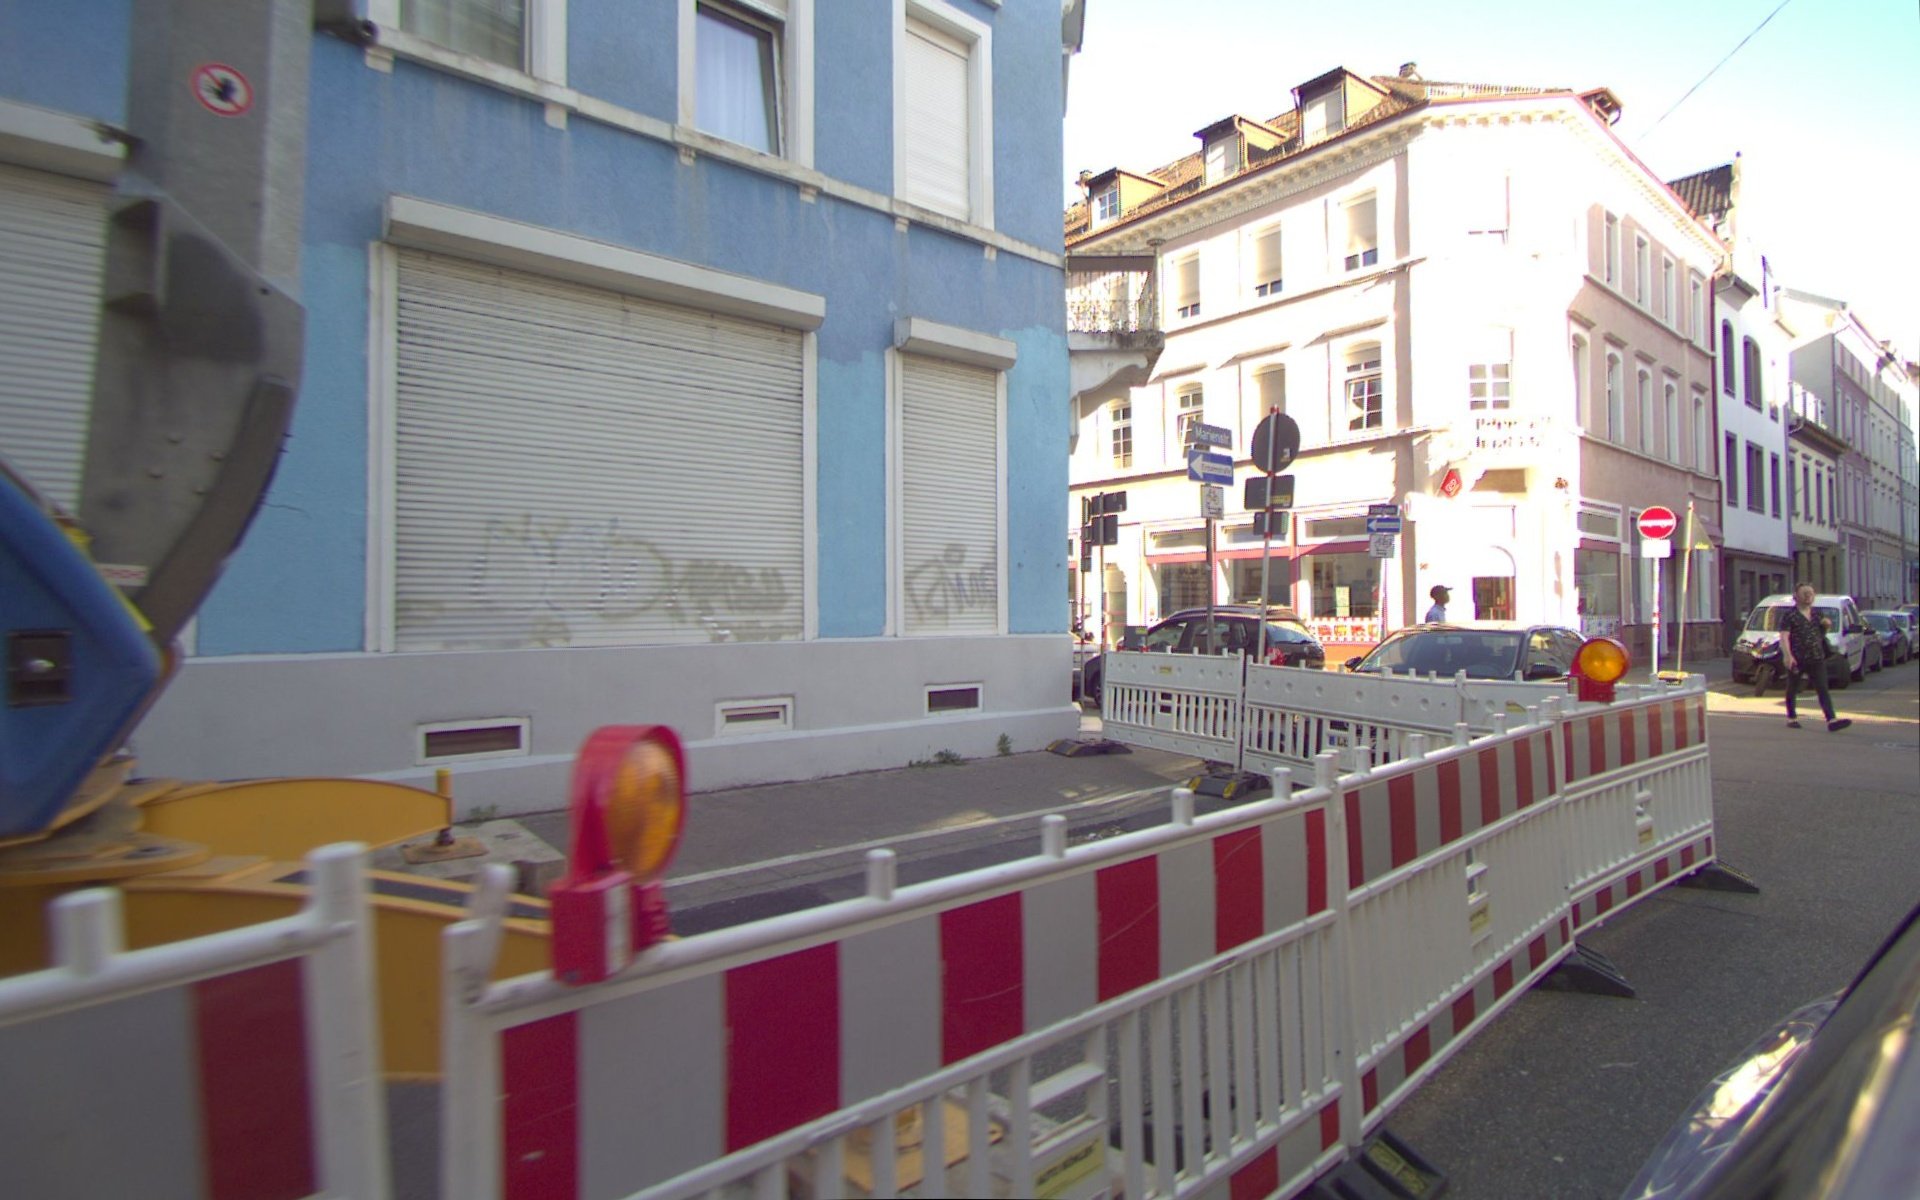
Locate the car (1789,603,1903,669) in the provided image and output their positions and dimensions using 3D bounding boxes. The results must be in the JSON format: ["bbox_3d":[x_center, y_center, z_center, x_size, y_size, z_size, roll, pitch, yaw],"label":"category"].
[{"bbox_3d":[21.417,0.810,24.415,3.814,1.426,1.611,-1,1,-41],"label":"car"}]

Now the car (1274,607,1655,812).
[{"bbox_3d":[4.773,0.832,9.343,3.964,1.452,1.774,0,-2,-42],"label":"car"}]

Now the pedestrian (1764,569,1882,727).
[{"bbox_3d":[10.442,0.544,12.290,0.820,1.815,0.981,1,1,25],"label":"pedestrian"}]

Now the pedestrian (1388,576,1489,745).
[{"bbox_3d":[5.558,0.678,11.757,0.767,1.873,0.770,0,-3,-43],"label":"pedestrian"}]

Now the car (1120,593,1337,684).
[{"bbox_3d":[5.552,0.779,21.303,1.824,1.653,4.066,-3,0,-40],"label":"car"}]

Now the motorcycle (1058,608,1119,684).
[{"bbox_3d":[3.011,1.062,23.983,0.834,1.670,2.338,-2,-2,-6],"label":"motorcycle"}]

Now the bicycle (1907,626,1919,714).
[{"bbox_3d":[12.650,0.893,12.193,0.697,1.126,1.932,-1,-1,3],"label":"bicycle"}]

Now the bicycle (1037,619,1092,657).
[{"bbox_3d":[2.919,1.072,28.460,0.448,1.022,1.641,0,-2,-42],"label":"bicycle"}]

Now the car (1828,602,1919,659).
[{"bbox_3d":[25.671,0.804,28.213,3.814,1.413,1.734,-1,1,-41],"label":"car"}]

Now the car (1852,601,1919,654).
[{"bbox_3d":[28.957,0.803,31.285,3.707,1.523,1.618,-1,1,-41],"label":"car"}]

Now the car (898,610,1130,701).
[{"bbox_3d":[0.854,0.969,18.514,1.724,1.453,4.479,2,-3,-38],"label":"car"}]

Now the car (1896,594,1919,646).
[{"bbox_3d":[35.053,0.685,36.331,4.332,1.752,1.712,-1,1,-42],"label":"car"}]

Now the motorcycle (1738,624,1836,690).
[{"bbox_3d":[15.187,1.018,18.577,1.956,1.100,0.721,-1,-1,-30],"label":"motorcycle"}]

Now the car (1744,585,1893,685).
[{"bbox_3d":[17.665,0.618,20.749,4.294,1.839,1.751,-1,1,-41],"label":"car"}]

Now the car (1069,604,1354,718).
[{"bbox_3d":[3.606,0.834,15.045,1.647,1.472,3.874,0,-2,-40],"label":"car"}]
